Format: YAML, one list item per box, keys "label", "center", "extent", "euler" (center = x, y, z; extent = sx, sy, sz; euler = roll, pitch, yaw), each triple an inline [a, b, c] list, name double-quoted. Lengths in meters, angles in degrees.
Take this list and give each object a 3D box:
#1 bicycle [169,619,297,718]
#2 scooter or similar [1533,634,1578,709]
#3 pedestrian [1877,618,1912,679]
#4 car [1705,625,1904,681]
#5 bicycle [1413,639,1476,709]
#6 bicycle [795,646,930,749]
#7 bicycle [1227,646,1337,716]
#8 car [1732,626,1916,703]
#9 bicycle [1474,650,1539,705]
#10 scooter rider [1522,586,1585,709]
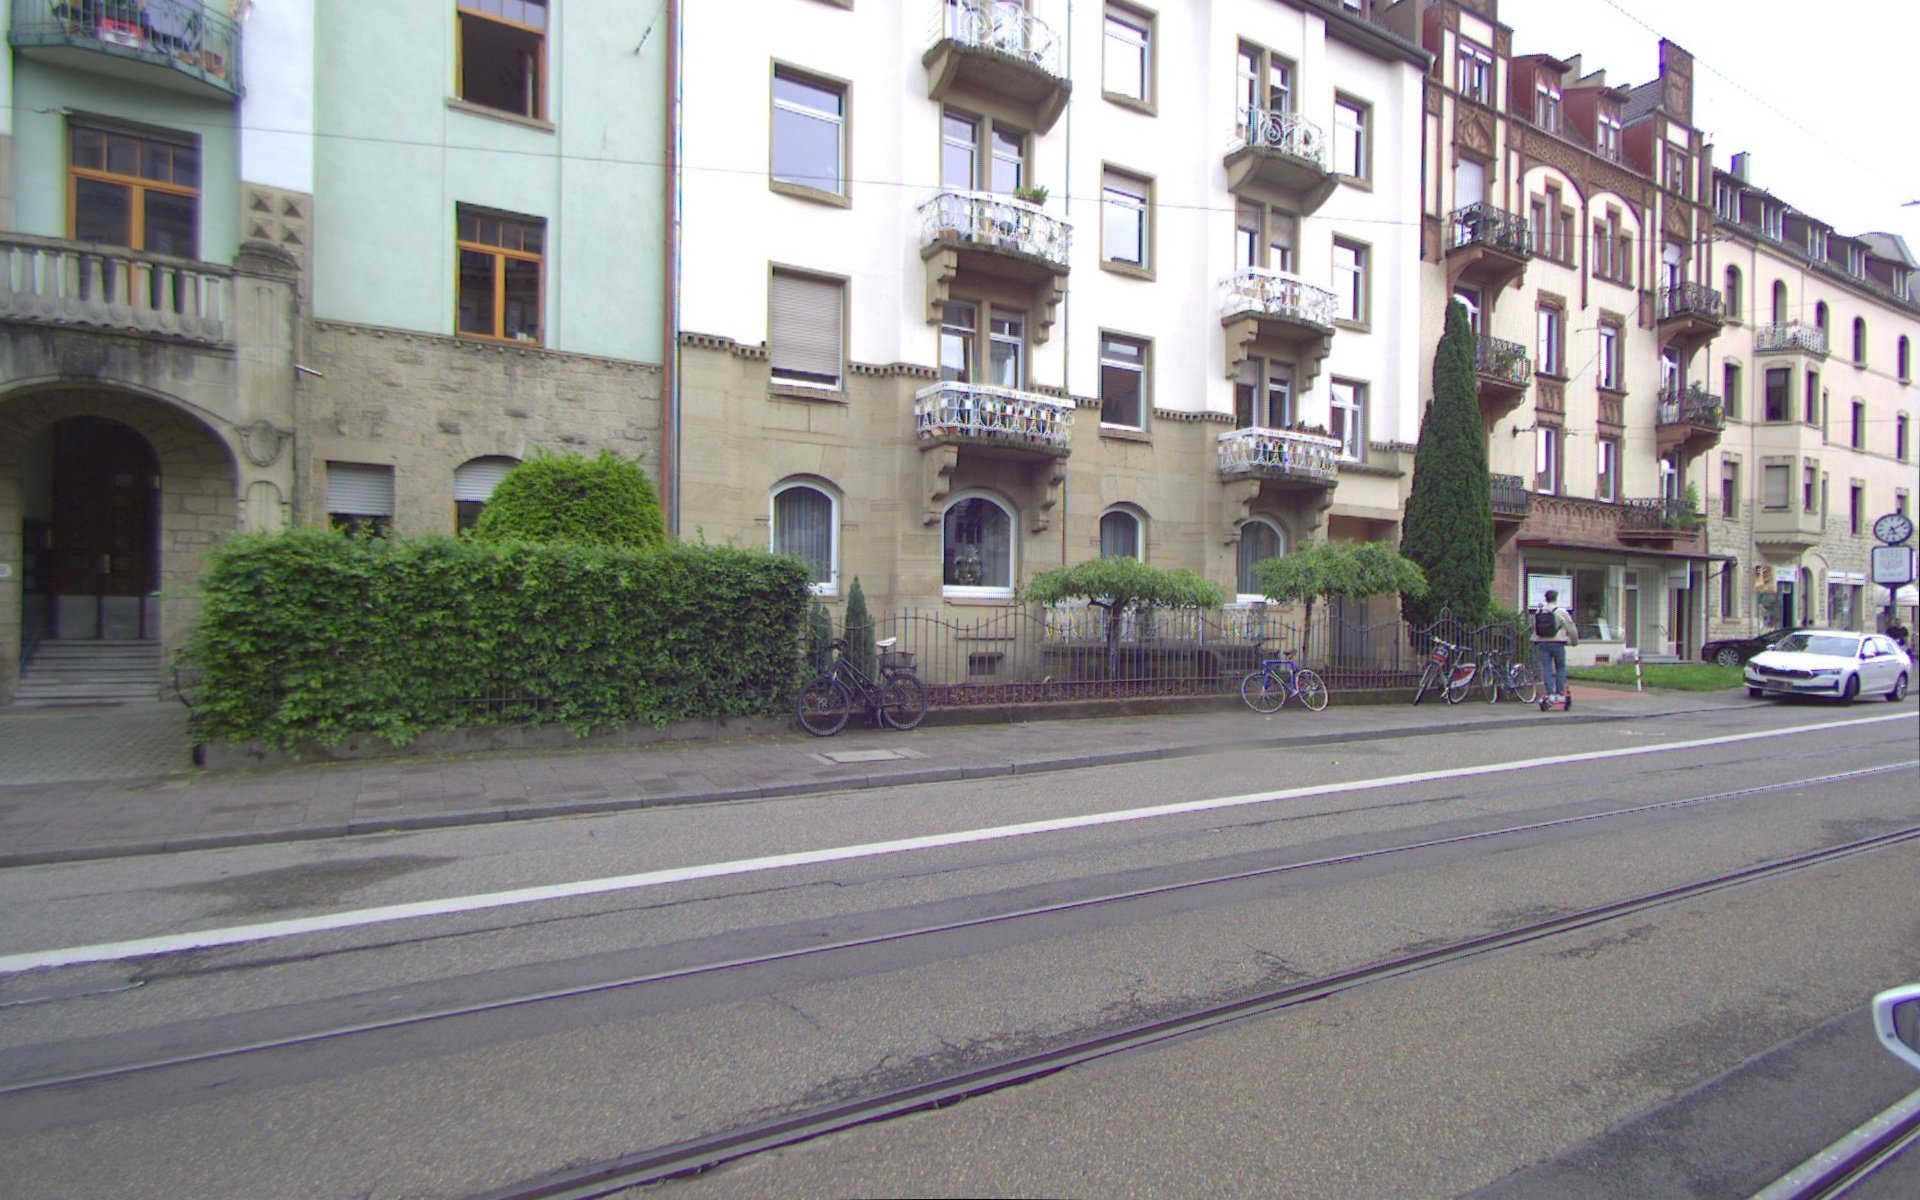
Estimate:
- label: "bicycle"
  center: [-8.522, 0.784, 11.802]
  extent: [1.195, 1.098, 0.297]
  euler: [1, 2, -37]
- label: "scooter or similar"
  center: [10.155, 1.210, 17.130]
  extent: [0.942, 1.250, 0.230]
  euler: [1, -1, -31]
- label: "pedestrian"
  center: [29.023, 1.483, 31.202]
  extent: [0.874, 1.868, 0.663]
  euler: [1, -1, -38]
- label: "car"
  center: [26.315, 1.602, 31.458]
  extent: [1.861, 1.389, 4.397]
  euler: [1, 2, -34]
- label: "bicycle"
  center: [8.228, 1.226, 17.025]
  extent: [1.613, 1.116, 0.381]
  euler: [1, -1, -42]
- label: "bicycle"
  center: [-1.094, 1.084, 11.478]
  extent: [1.529, 1.098, 0.358]
  euler: [1, -1, -31]
- label: "bicycle"
  center: [4.890, 1.211, 15.221]
  extent: [1.640, 0.938, 0.358]
  euler: [0, -19, -28]
- label: "car"
  center: [18.796, 1.332, 21.813]
  extent: [4.557, 1.504, 1.738]
  euler: [1, -1, -31]
- label: "bicycle"
  center: [9.982, 1.398, 18.332]
  extent: [1.498, 0.950, 0.330]
  euler: [1, -1, -31]
- label: "scooter rider"
  center: [10.127, 0.804, 17.145]
  extent: [0.749, 2.040, 0.639]
  euler: [1, -1, -30]
